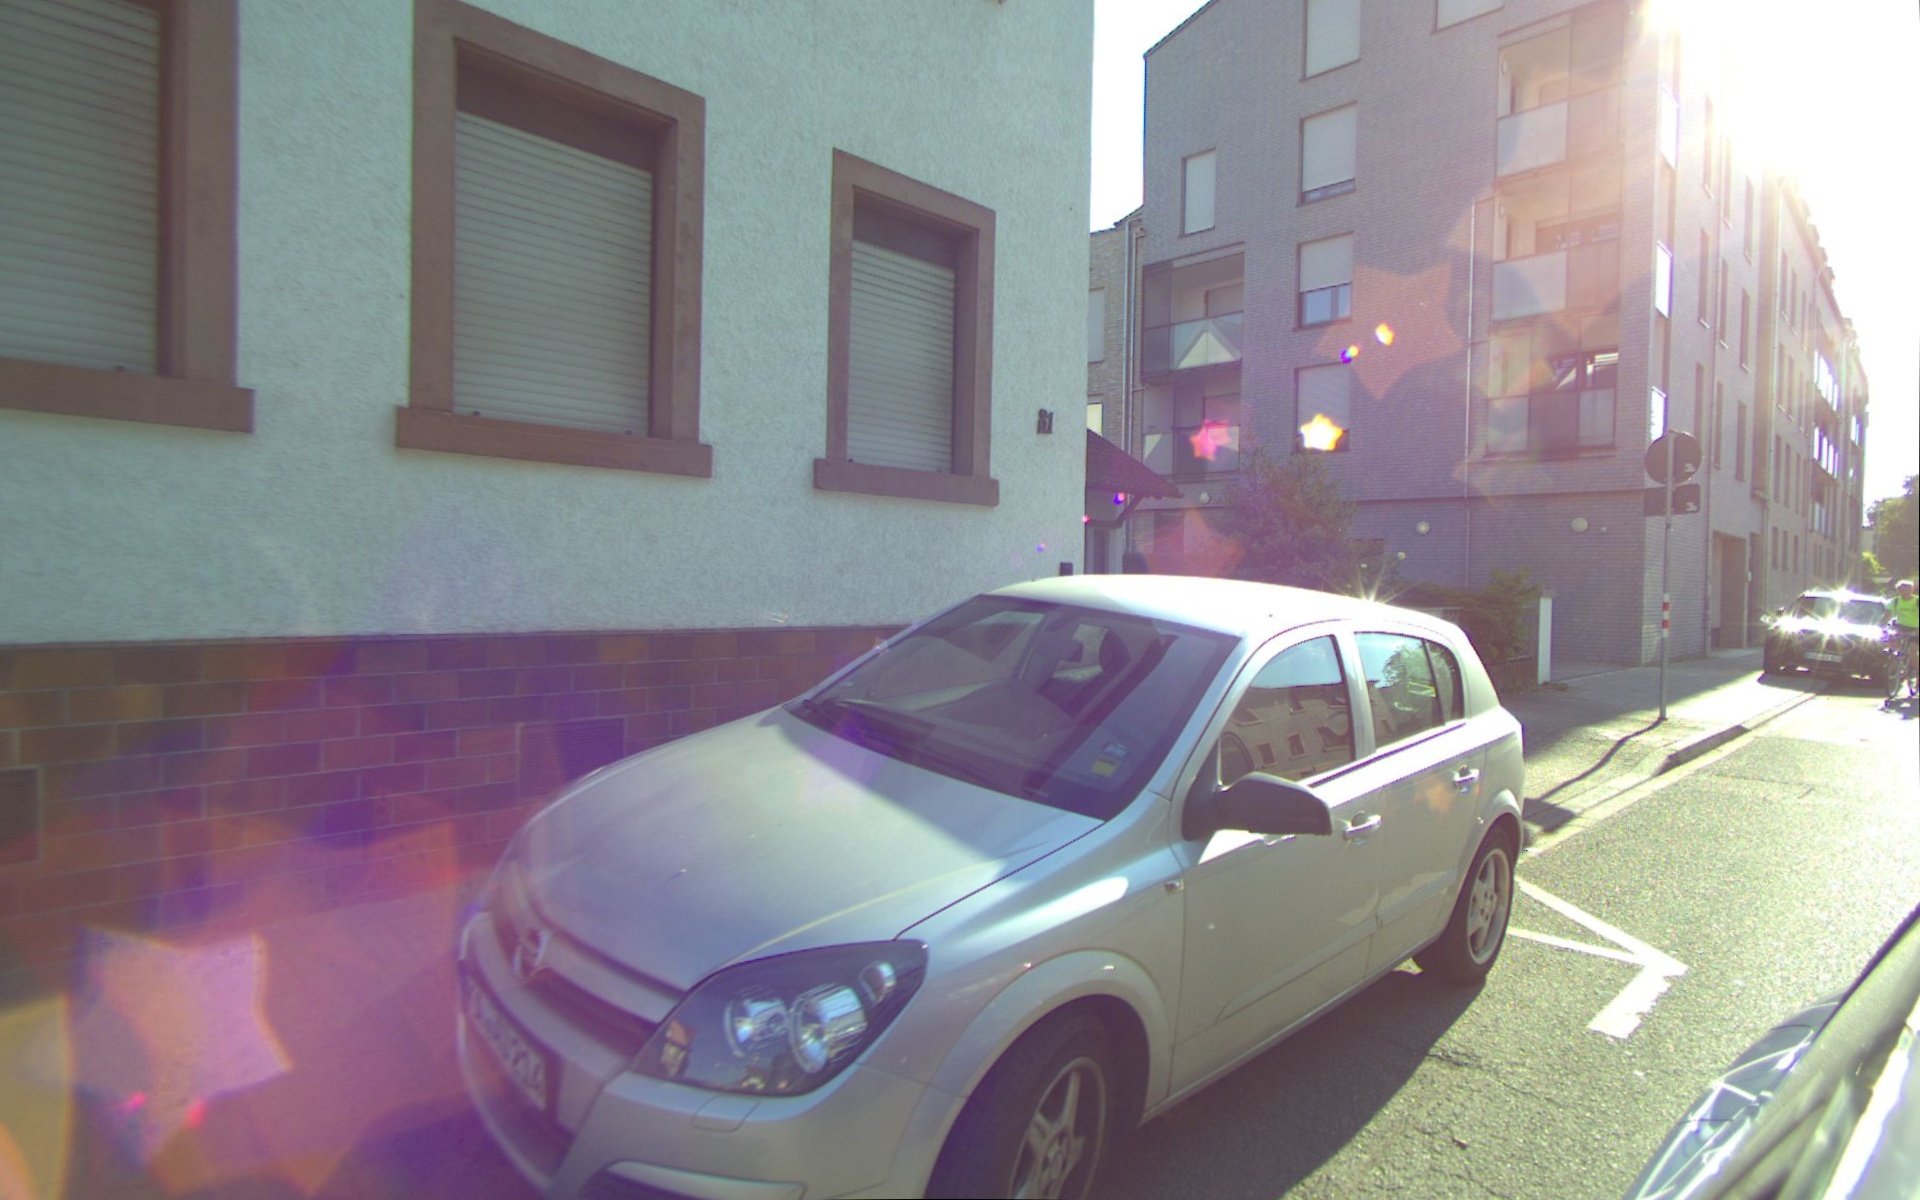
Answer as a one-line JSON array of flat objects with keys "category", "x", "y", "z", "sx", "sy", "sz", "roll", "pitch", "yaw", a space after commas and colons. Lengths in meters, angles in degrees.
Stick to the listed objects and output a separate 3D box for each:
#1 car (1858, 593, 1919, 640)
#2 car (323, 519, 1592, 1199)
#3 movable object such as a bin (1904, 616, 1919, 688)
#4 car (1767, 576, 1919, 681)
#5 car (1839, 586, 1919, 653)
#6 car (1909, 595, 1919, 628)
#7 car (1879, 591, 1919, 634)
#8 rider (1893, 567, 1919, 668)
[{"category": "car", "x": 32.914, "y": 0.535, "z": 35.559, "sx": 1.715, "sy": 1.421, "sz": 4.008, "roll": 8, "pitch": 5, "yaw": 44}, {"category": "car", "x": 0.523, "y": 0.599, "z": 3.502, "sx": 4.365, "sy": 1.510, "sz": 1.744, "roll": 0, "pitch": 4, "yaw": -44}, {"category": "movable object such as a bin", "x": 15.560, "y": 0.819, "z": 16.332, "sx": 0.454, "sy": 1.046, "sz": 1.812, "roll": -2, "pitch": 0, "yaw": 43}, {"category": "car", "x": 17.109, "y": 0.478, "z": 19.441, "sx": 4.546, "sy": 1.656, "sz": 1.857, "roll": 0, "pitch": 4, "yaw": -44}, {"category": "car", "x": 26.104, "y": 0.519, "z": 28.409, "sx": 1.993, "sy": 1.673, "sz": 4.688, "roll": 3, "pitch": 1, "yaw": 43}, {"category": "car", "x": 45.014, "y": 0.544, "z": 46.611, "sx": 1.816, "sy": 1.484, "sz": 4.203, "roll": 3, "pitch": 3, "yaw": 43}, {"category": "car", "x": 40.513, "y": 0.535, "z": 42.789, "sx": 4.690, "sy": 1.733, "sz": 1.893, "roll": 1, "pitch": 1, "yaw": -41}, {"category": "rider", "x": 15.450, "y": 0.263, "z": 16.246, "sx": 0.653, "sy": 1.581, "sz": 1.066, "roll": -2, "pitch": 0, "yaw": 43}]
